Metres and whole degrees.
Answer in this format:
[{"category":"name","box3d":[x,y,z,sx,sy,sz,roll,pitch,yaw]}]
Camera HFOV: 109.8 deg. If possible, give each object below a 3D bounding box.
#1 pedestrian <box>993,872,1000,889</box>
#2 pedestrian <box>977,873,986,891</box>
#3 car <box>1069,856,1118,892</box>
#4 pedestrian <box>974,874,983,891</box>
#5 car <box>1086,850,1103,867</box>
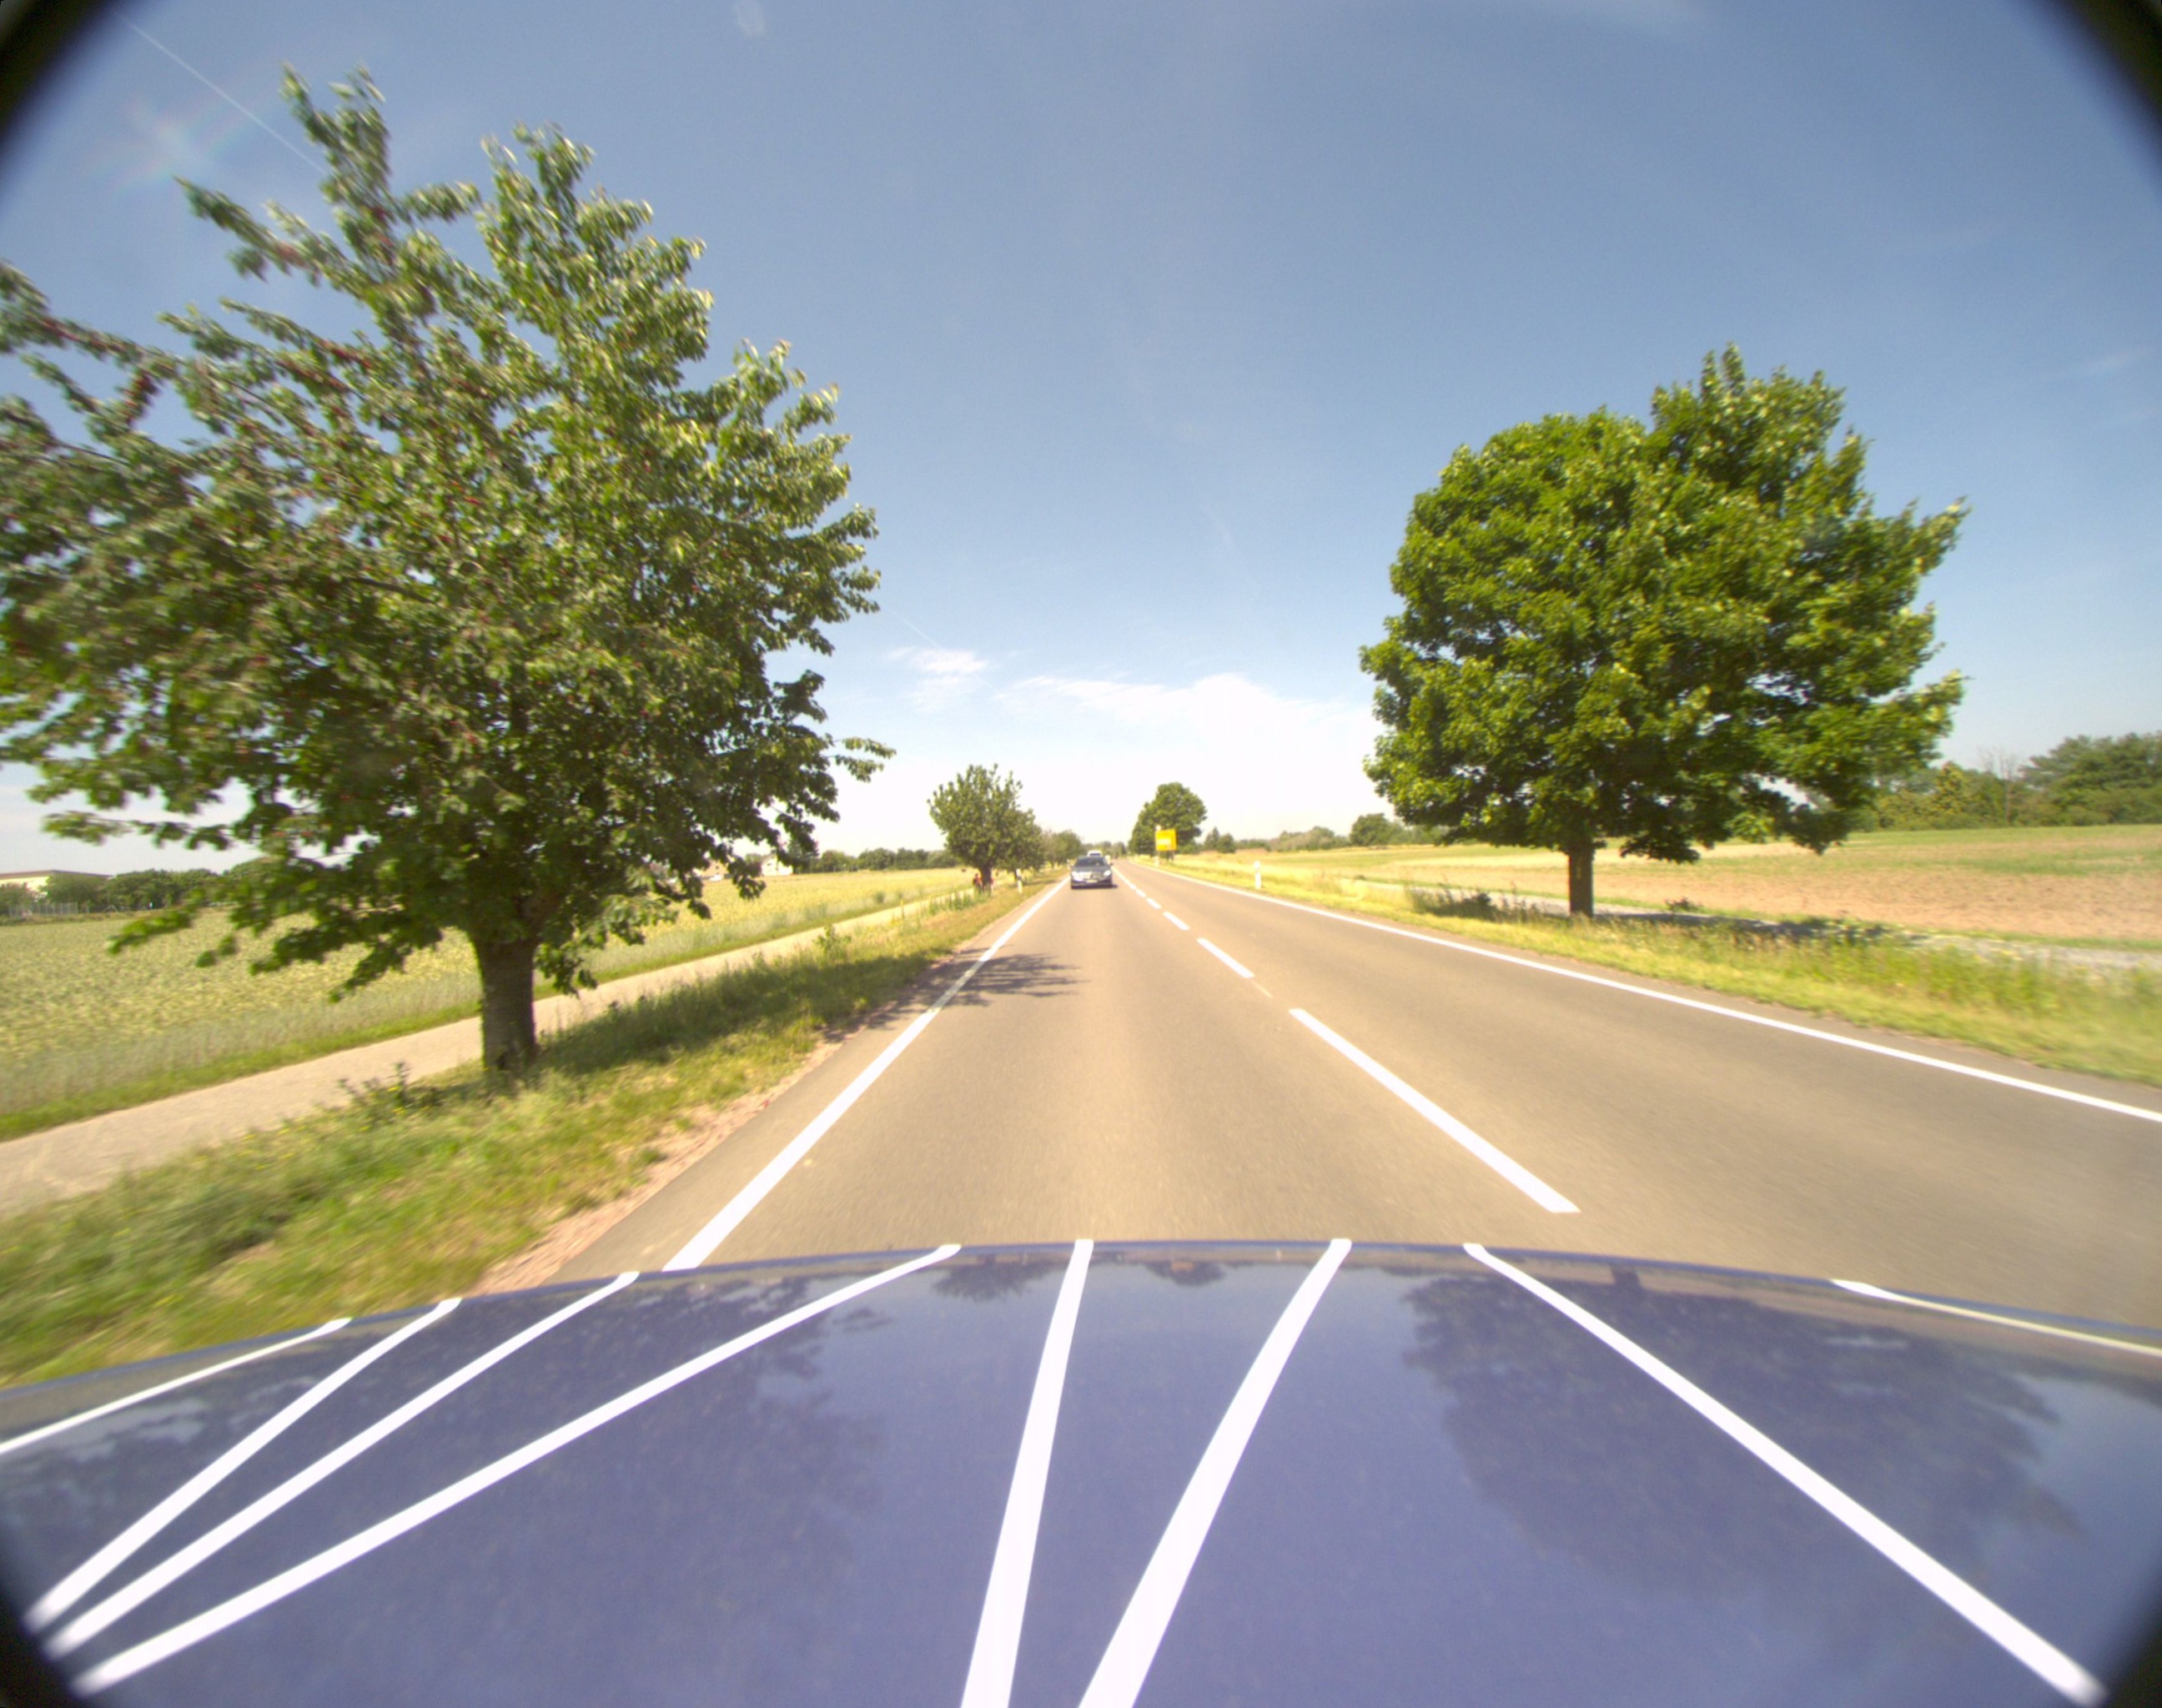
[{"category":"pedestrian","box3d":[-6.527,2.045,58.688,0.442,1.288,0.487,-2,1,-6]},{"category":"pedestrian","box3d":[-7.563,2.115,57.704,0.486,1.306,0.443,-2,1,44]},{"category":"car","box3d":[0.535,0.807,32.700,1.953,1.391,4.000,-1,0,0]},{"category":"pedestrian","box3d":[-7.884,2.185,58.314,0.443,1.288,0.486,-3,1,-43]},{"category":"car","box3d":[1.663,0.487,92.200,1.998,1.907,4.206,-3,0,1]}]
